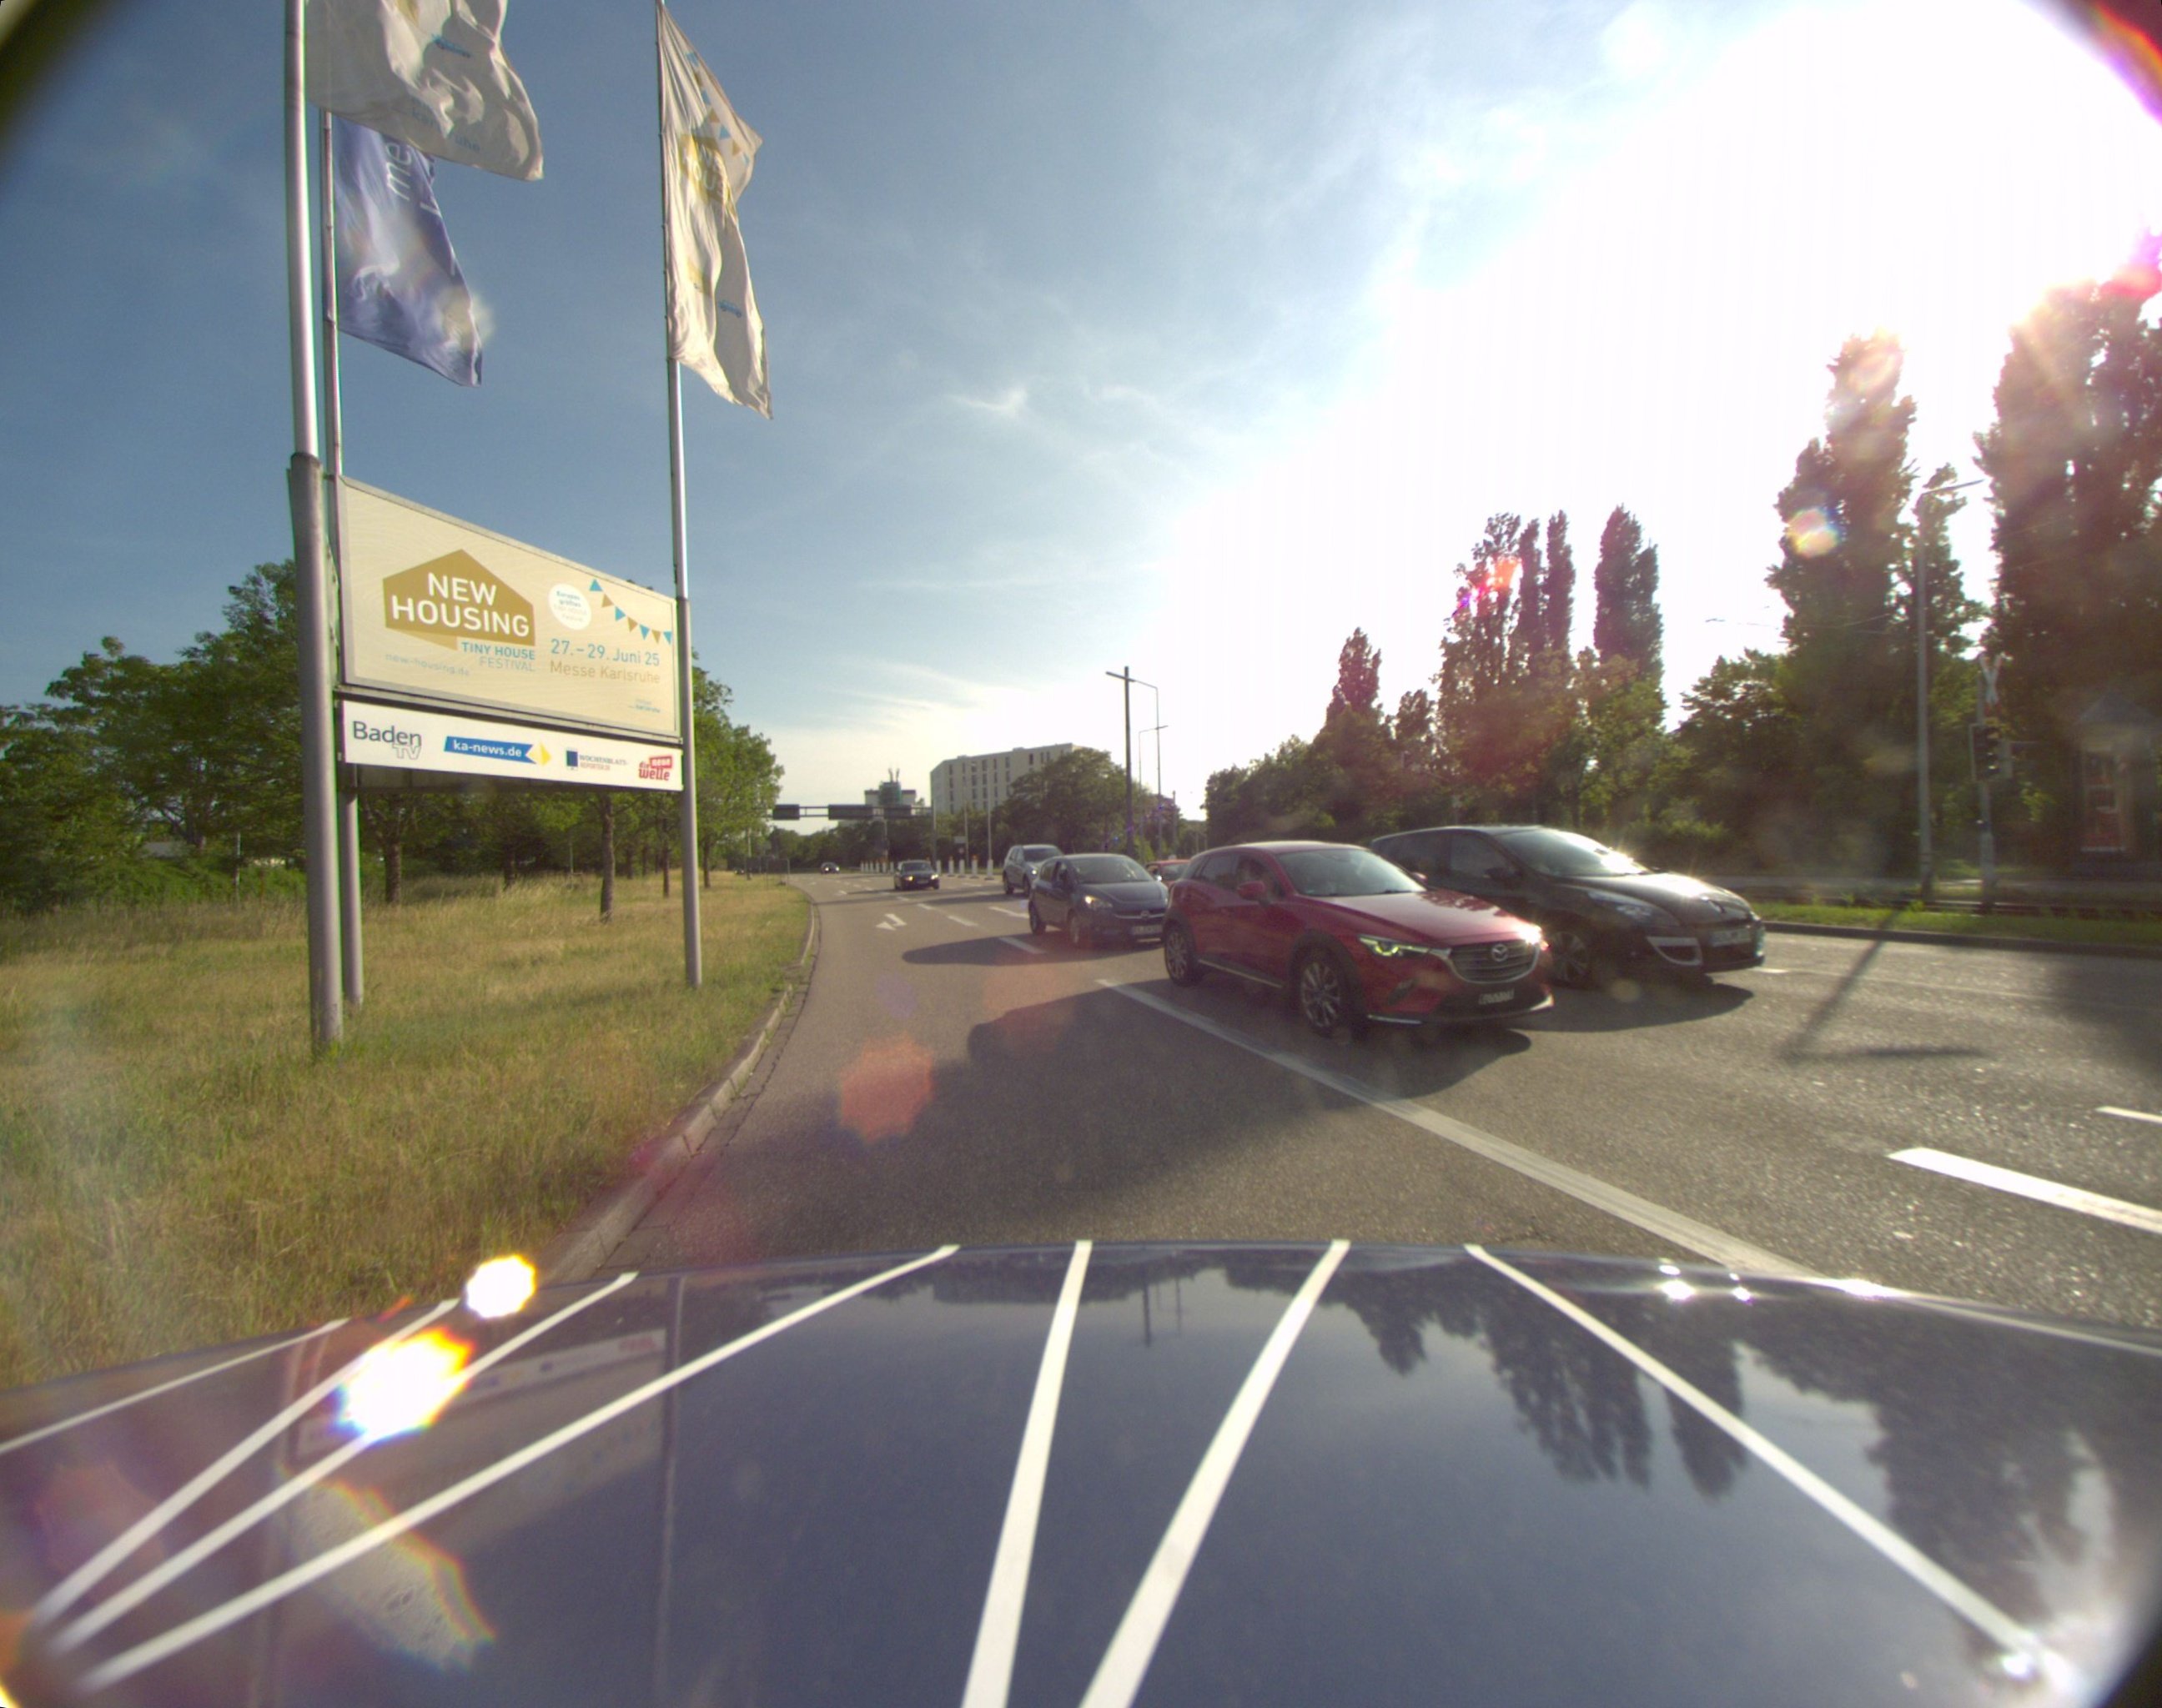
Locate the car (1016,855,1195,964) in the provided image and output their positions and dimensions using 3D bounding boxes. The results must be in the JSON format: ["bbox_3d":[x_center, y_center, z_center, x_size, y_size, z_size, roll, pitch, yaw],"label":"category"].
[{"bbox_3d":[0.213,0.810,13.116,1.748,1.496,4.216,-2,0,-17],"label":"car"}]

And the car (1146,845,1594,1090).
[{"bbox_3d":[2.209,0.742,7.038,1.713,1.543,3.971,-2,0,-19],"label":"car"}]

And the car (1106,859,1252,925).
[{"bbox_3d":[2.061,0.765,17.155,1.738,1.199,3.841,-4,1,-18],"label":"car"}]

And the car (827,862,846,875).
[{"bbox_3d":[-31.384,1.830,97.348,1.898,1.447,3.901,-2,1,-24],"label":"car"}]

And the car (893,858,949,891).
[{"bbox_3d":[-7.881,0.949,37.104,1.904,1.377,4.348,-4,1,-21],"label":"car"}]

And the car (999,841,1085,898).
[{"bbox_3d":[-1.506,0.525,27.553,1.904,1.813,4.349,-4,1,-18],"label":"car"}]

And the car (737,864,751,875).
[{"bbox_3d":[-67.034,3.034,151.028,1.864,2.002,4.167,-4,2,-32],"label":"car"}]

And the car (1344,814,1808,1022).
[{"bbox_3d":[4.991,0.528,8.434,1.770,1.661,4.078,-3,0,-18],"label":"car"}]
